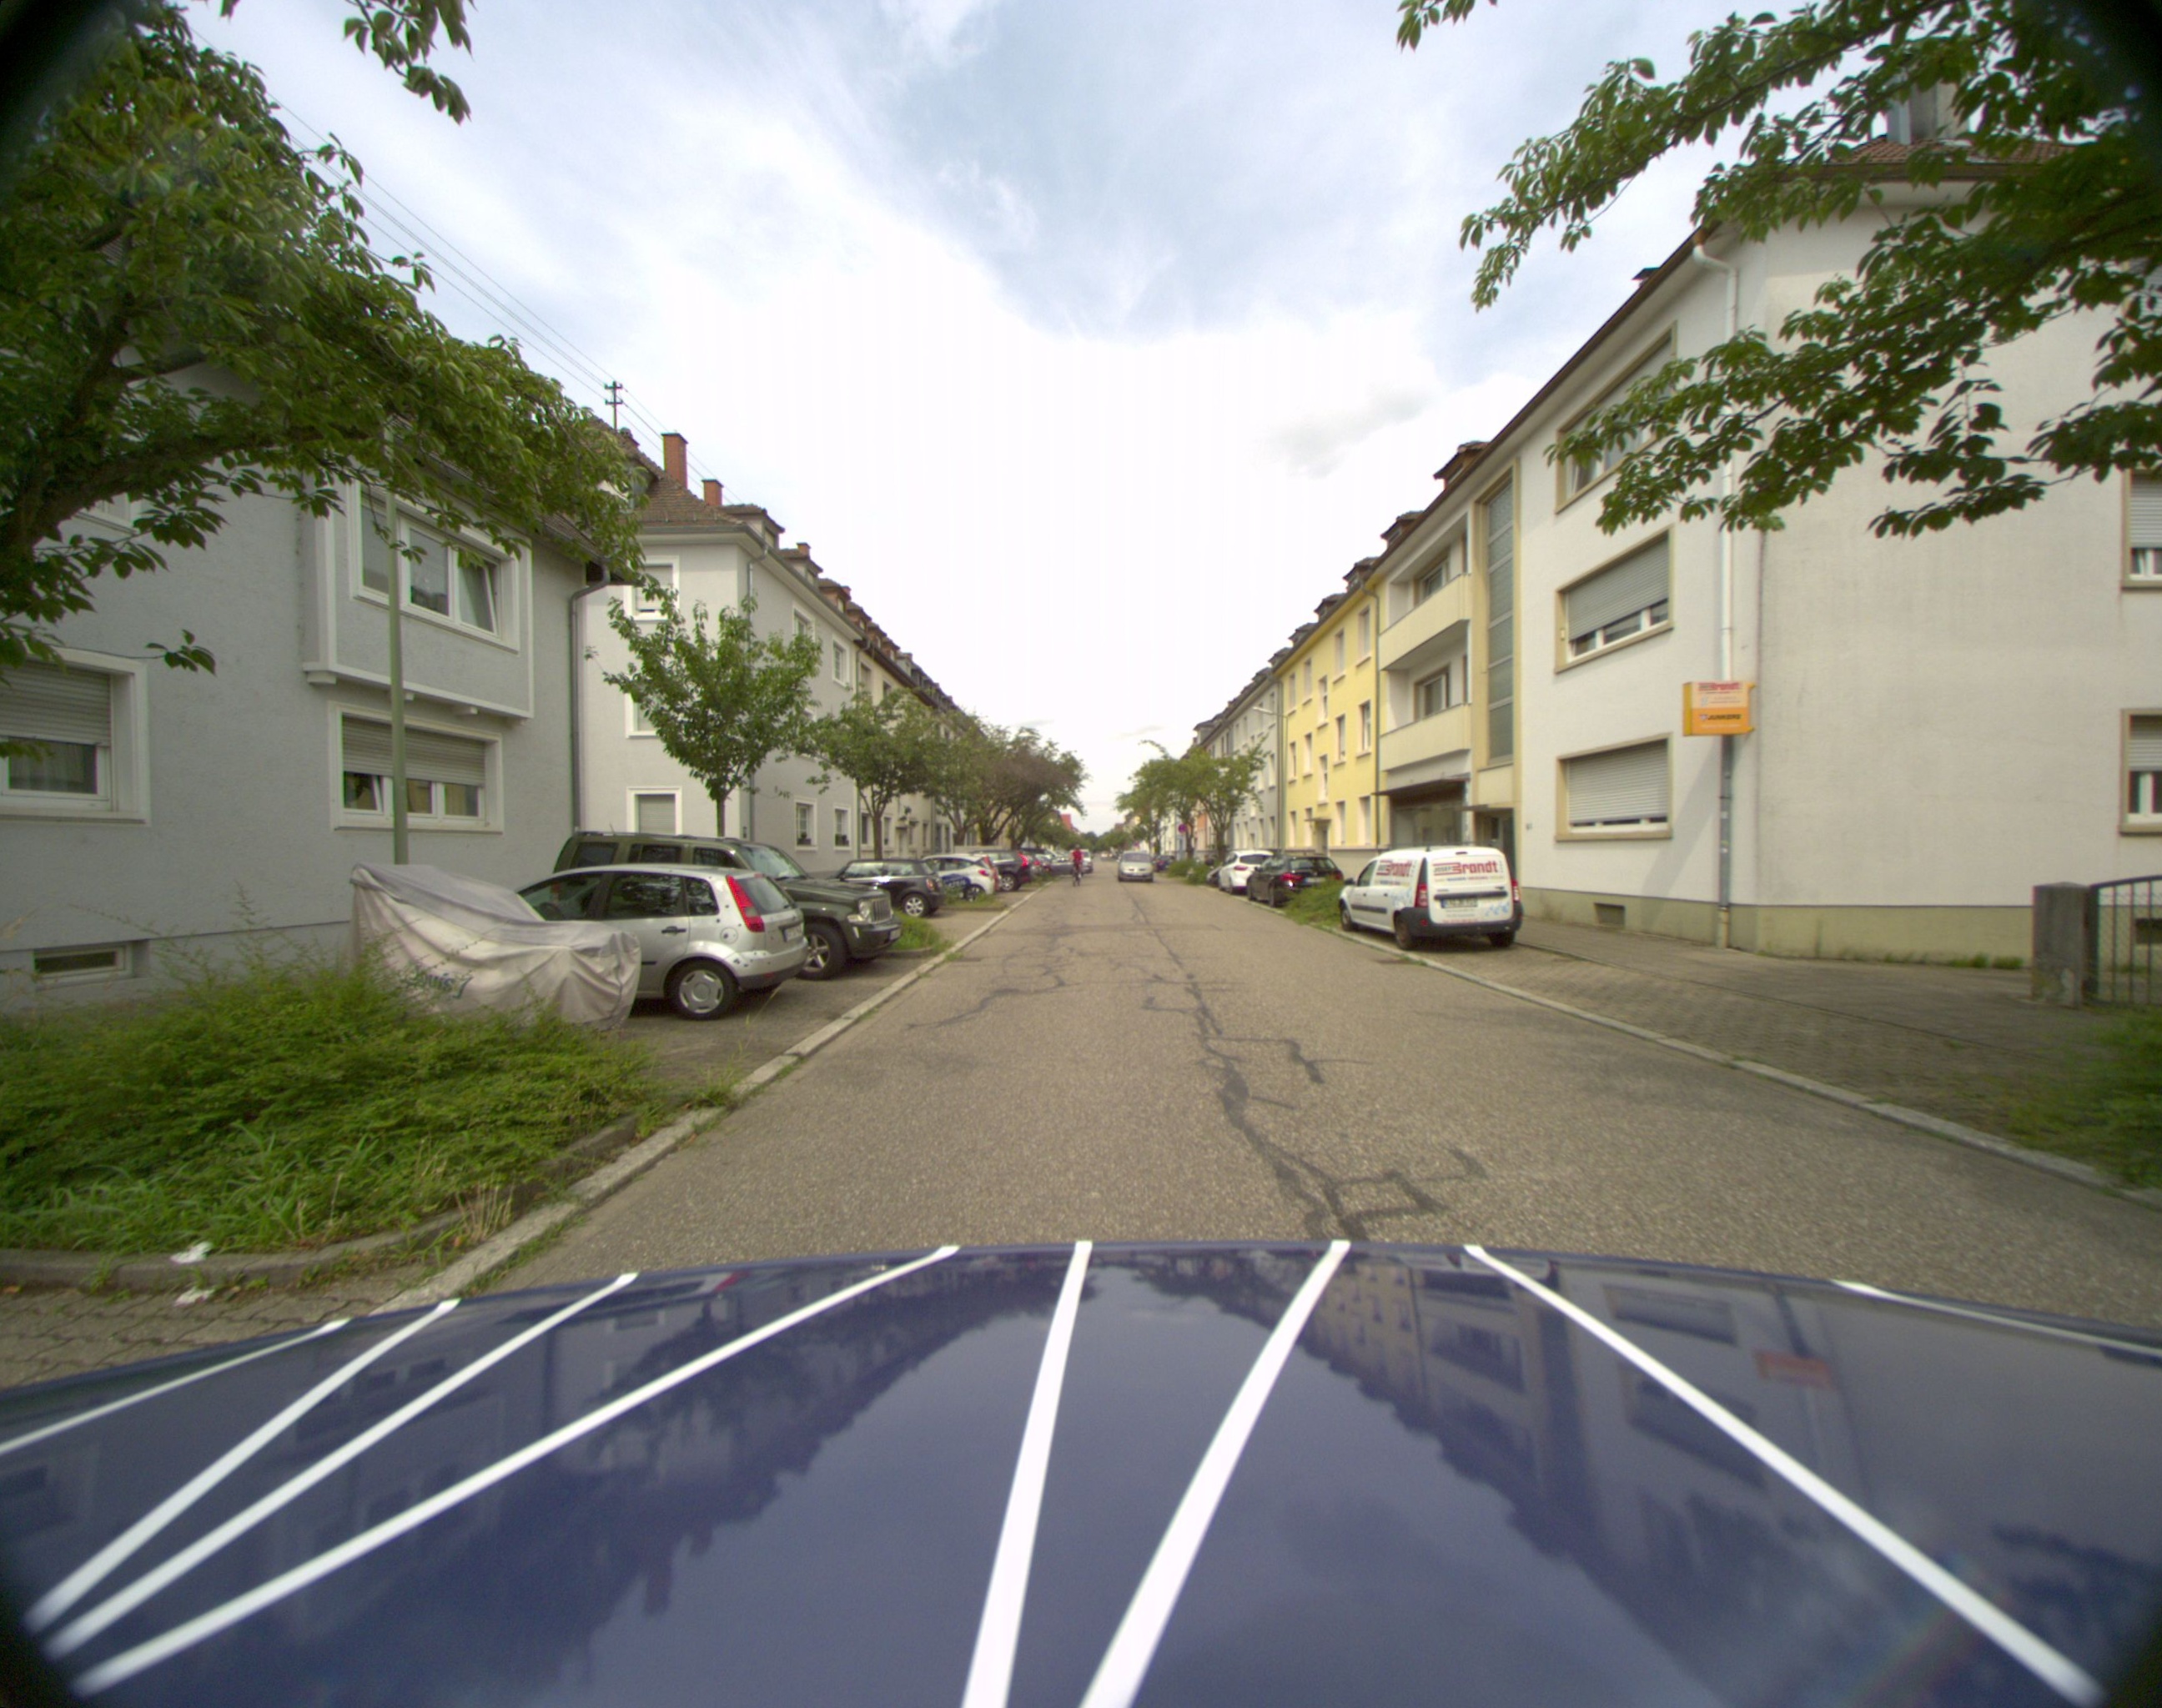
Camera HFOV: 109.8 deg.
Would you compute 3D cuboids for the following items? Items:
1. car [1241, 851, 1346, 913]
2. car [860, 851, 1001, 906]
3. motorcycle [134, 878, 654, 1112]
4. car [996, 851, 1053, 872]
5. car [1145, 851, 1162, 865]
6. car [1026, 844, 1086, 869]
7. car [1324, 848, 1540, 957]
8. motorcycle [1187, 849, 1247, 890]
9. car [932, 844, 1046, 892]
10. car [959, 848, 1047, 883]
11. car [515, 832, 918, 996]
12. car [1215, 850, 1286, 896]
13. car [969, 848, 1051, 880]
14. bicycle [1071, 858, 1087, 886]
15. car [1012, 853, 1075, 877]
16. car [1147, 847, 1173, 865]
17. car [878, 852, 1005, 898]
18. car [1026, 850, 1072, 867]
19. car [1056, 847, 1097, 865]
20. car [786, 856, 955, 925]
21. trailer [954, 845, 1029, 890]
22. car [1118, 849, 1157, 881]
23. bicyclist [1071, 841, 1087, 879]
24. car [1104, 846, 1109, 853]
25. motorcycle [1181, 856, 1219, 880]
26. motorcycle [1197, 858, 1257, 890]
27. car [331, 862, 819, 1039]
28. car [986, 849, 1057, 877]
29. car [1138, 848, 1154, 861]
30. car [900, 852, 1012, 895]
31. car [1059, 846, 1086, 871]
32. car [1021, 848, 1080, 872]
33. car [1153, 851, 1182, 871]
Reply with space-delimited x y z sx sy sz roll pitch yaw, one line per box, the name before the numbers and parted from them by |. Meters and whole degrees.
car | 5.963 0.711 21.900 1.795 1.483 4.812 -1 1 2
car | -4.549 0.718 23.404 3.998 1.521 1.767 2 1 -2
motorcycle | -4.727 0.923 5.449 2.708 1.455 1.031 0 1 -2
car | -4.078 0.520 55.650 3.997 1.412 1.638 2 1 1
car | 8.382 0.420 88.314 1.706 1.533 4.249 3 1 3
car | -2.212 0.188 67.433 5.244 2.011 2.072 2 1 -3
car | 5.971 0.707 13.620 1.923 1.572 4.382 2 1 2
motorcycle | 5.756 0.630 32.304 0.941 1.666 2.467 0 0 -42
car | -3.640 0.534 30.523 4.224 1.726 1.904 2 1 4
car | -3.892 0.546 38.387 4.226 1.588 1.903 2 1 -1
car | -4.688 0.711 10.169 4.535 1.847 1.793 2 1 4
car | 6.153 0.644 28.061 1.761 1.547 4.255 0 1 1
car | -3.778 0.516 40.898 4.226 1.588 1.903 2 1 -1
bicycle | -0.097 0.805 35.368 0.693 1.220 1.937 -1 1 1
car | -2.469 0.703 50.554 3.997 1.446 1.766 2 1 1
car | 7.111 0.156 68.719 1.841 1.475 4.092 -2 1 -1
car | -4.692 0.684 25.997 3.998 1.402 1.767 2 1 -2
car | -3.236 0.447 76.726 4.559 1.501 1.850 2 1 -1
car | -0.512 0.240 90.973 4.750 1.899 1.850 2 1 1
car | -5.002 0.842 18.408 3.552 1.444 1.809 2 1 1
trailer | -3.891 0.561 33.214 2.967 1.821 1.401 2 1 5
car | 2.906 0.539 40.194 1.788 1.595 4.835 0 1 1
bicyclist | -0.098 0.281 35.420 0.694 1.760 0.986 -1 1 1
car | 8.285 -1.547 245.990 1.757 2.098 3.621 2 1 1
motorcycle | 6.204 0.730 39.625 1.914 1.185 0.595 1 1 -25
motorcycle | 6.405 0.864 33.400 2.450 1.304 0.645 2 1 27
car | -4.741 0.867 7.582 3.635 1.446 1.772 2 1 -3
car | -3.779 0.561 48.439 4.224 1.668 1.904 2 1 4
car | 8.079 0.008 94.587 1.697 1.573 4.248 -1 1 0
car | -4.573 0.697 28.125 3.756 1.433 1.865 2 1 2
car | -0.690 0.356 61.816 1.999 1.904 4.703 -2 1 0
car | -2.108 0.392 52.926 3.997 1.527 1.638 2 1 1
car | 7.074 0.564 62.346 1.841 1.475 4.120 -3 1 0
